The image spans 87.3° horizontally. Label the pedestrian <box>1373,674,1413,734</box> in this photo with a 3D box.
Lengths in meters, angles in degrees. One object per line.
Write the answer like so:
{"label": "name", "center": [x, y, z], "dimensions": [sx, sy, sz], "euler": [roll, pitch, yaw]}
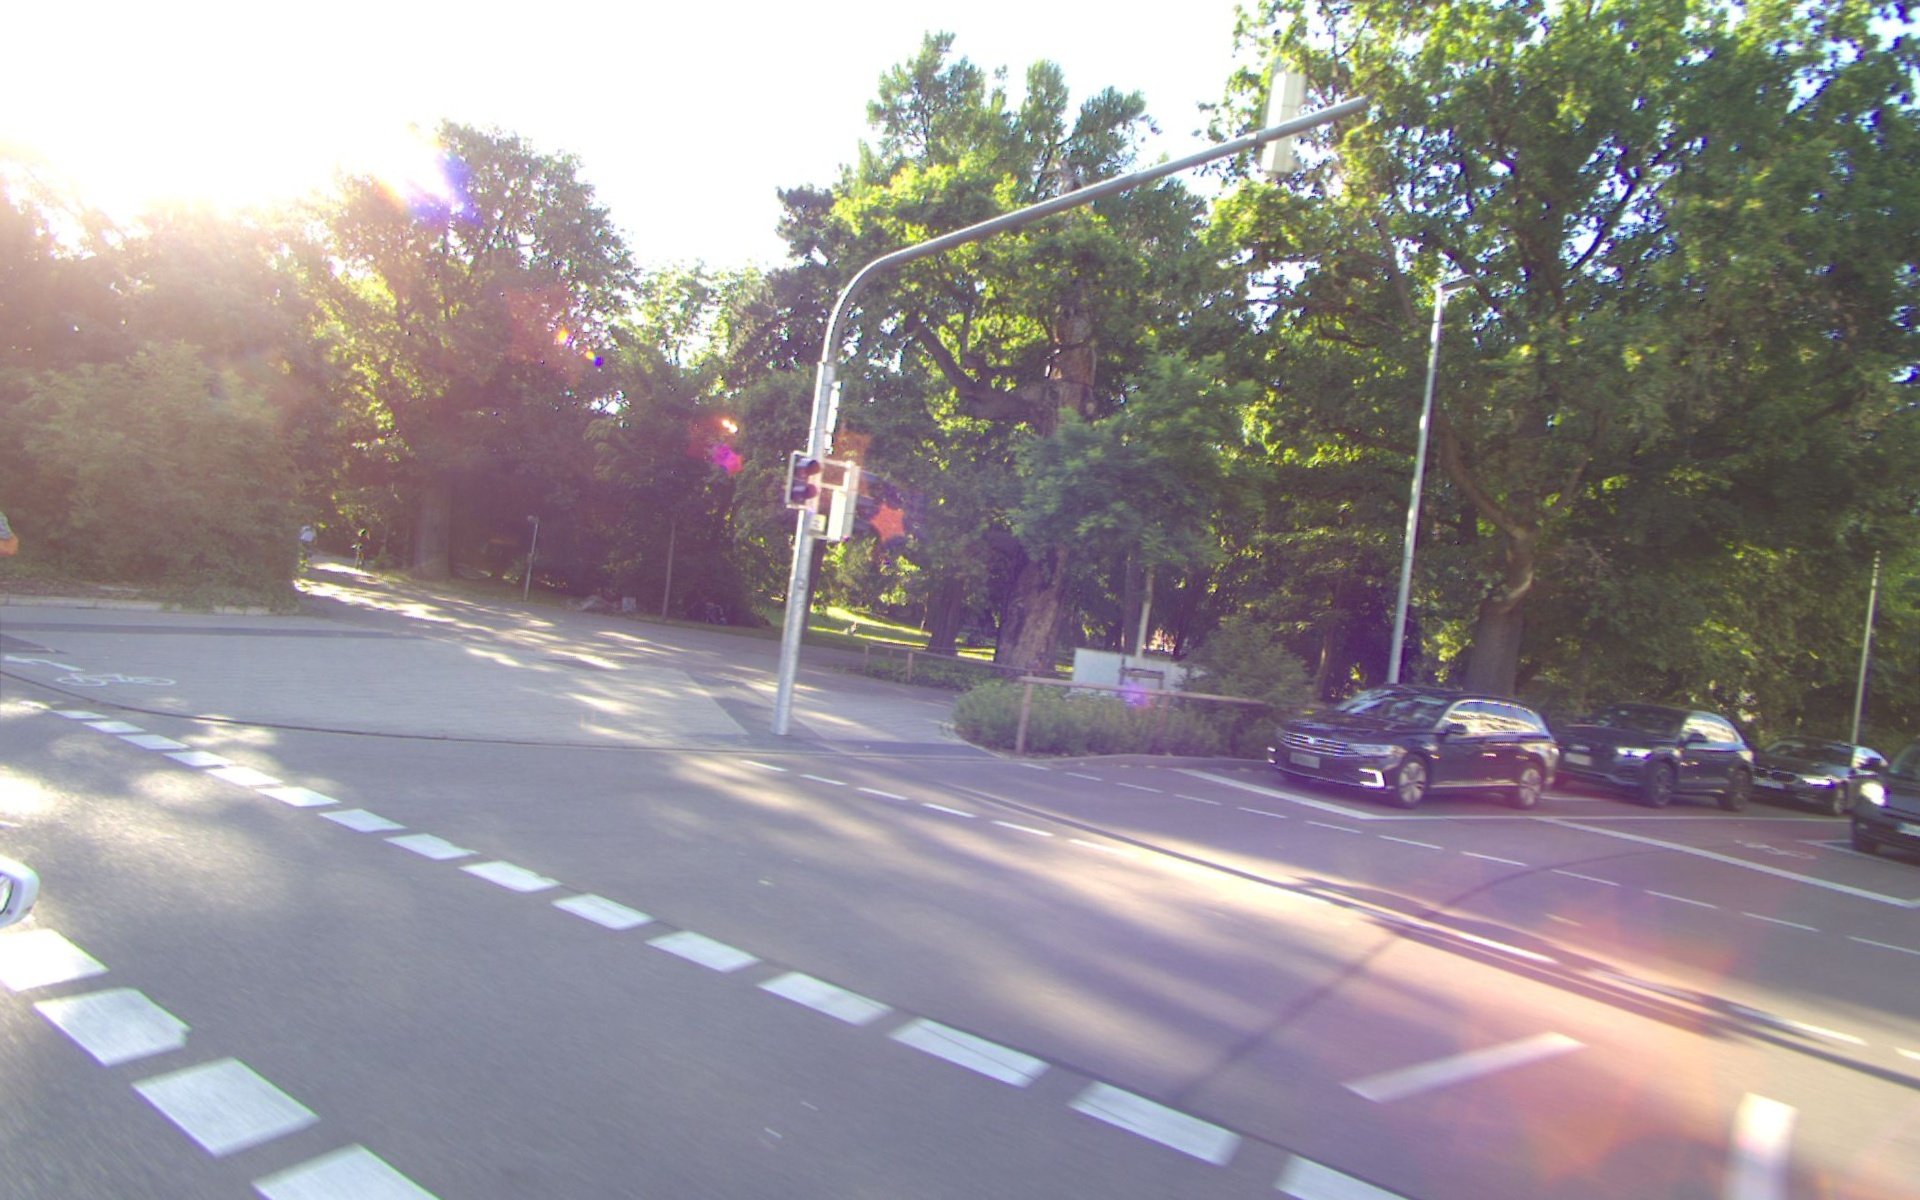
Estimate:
{"label": "pedestrian", "center": [13.630, 3.259, 31.670], "dimensions": [0.774, 1.752, 0.802], "euler": [8, 2, 43]}

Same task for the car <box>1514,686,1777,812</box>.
{"label": "car", "center": [11.913, 2.597, 17.418], "dimensions": [4.488, 1.672, 1.889], "euler": [8, -1, -30]}

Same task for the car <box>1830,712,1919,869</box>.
{"label": "car", "center": [13.912, 2.728, 13.678], "dimensions": [4.208, 1.827, 1.930], "euler": [8, 1, -34]}

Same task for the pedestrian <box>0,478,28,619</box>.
{"label": "pedestrian", "center": [-12.862, -0.711, 12.899], "dimensions": [0.891, 1.825, 0.858], "euler": [6, 2, -2]}

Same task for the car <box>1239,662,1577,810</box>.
{"label": "car", "center": [6.046, 1.847, 13.389], "dimensions": [4.558, 1.491, 1.886], "euler": [8, -2, -34]}

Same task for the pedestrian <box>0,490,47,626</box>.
{"label": "pedestrian", "center": [-12.118, -0.550, 12.531], "dimensions": [0.756, 1.657, 0.768], "euler": [7, 2, 23]}

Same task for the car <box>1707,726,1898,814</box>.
{"label": "car", "center": [17.620, 3.567, 20.985], "dimensions": [4.195, 1.398, 1.886], "euler": [8, -2, -34]}
